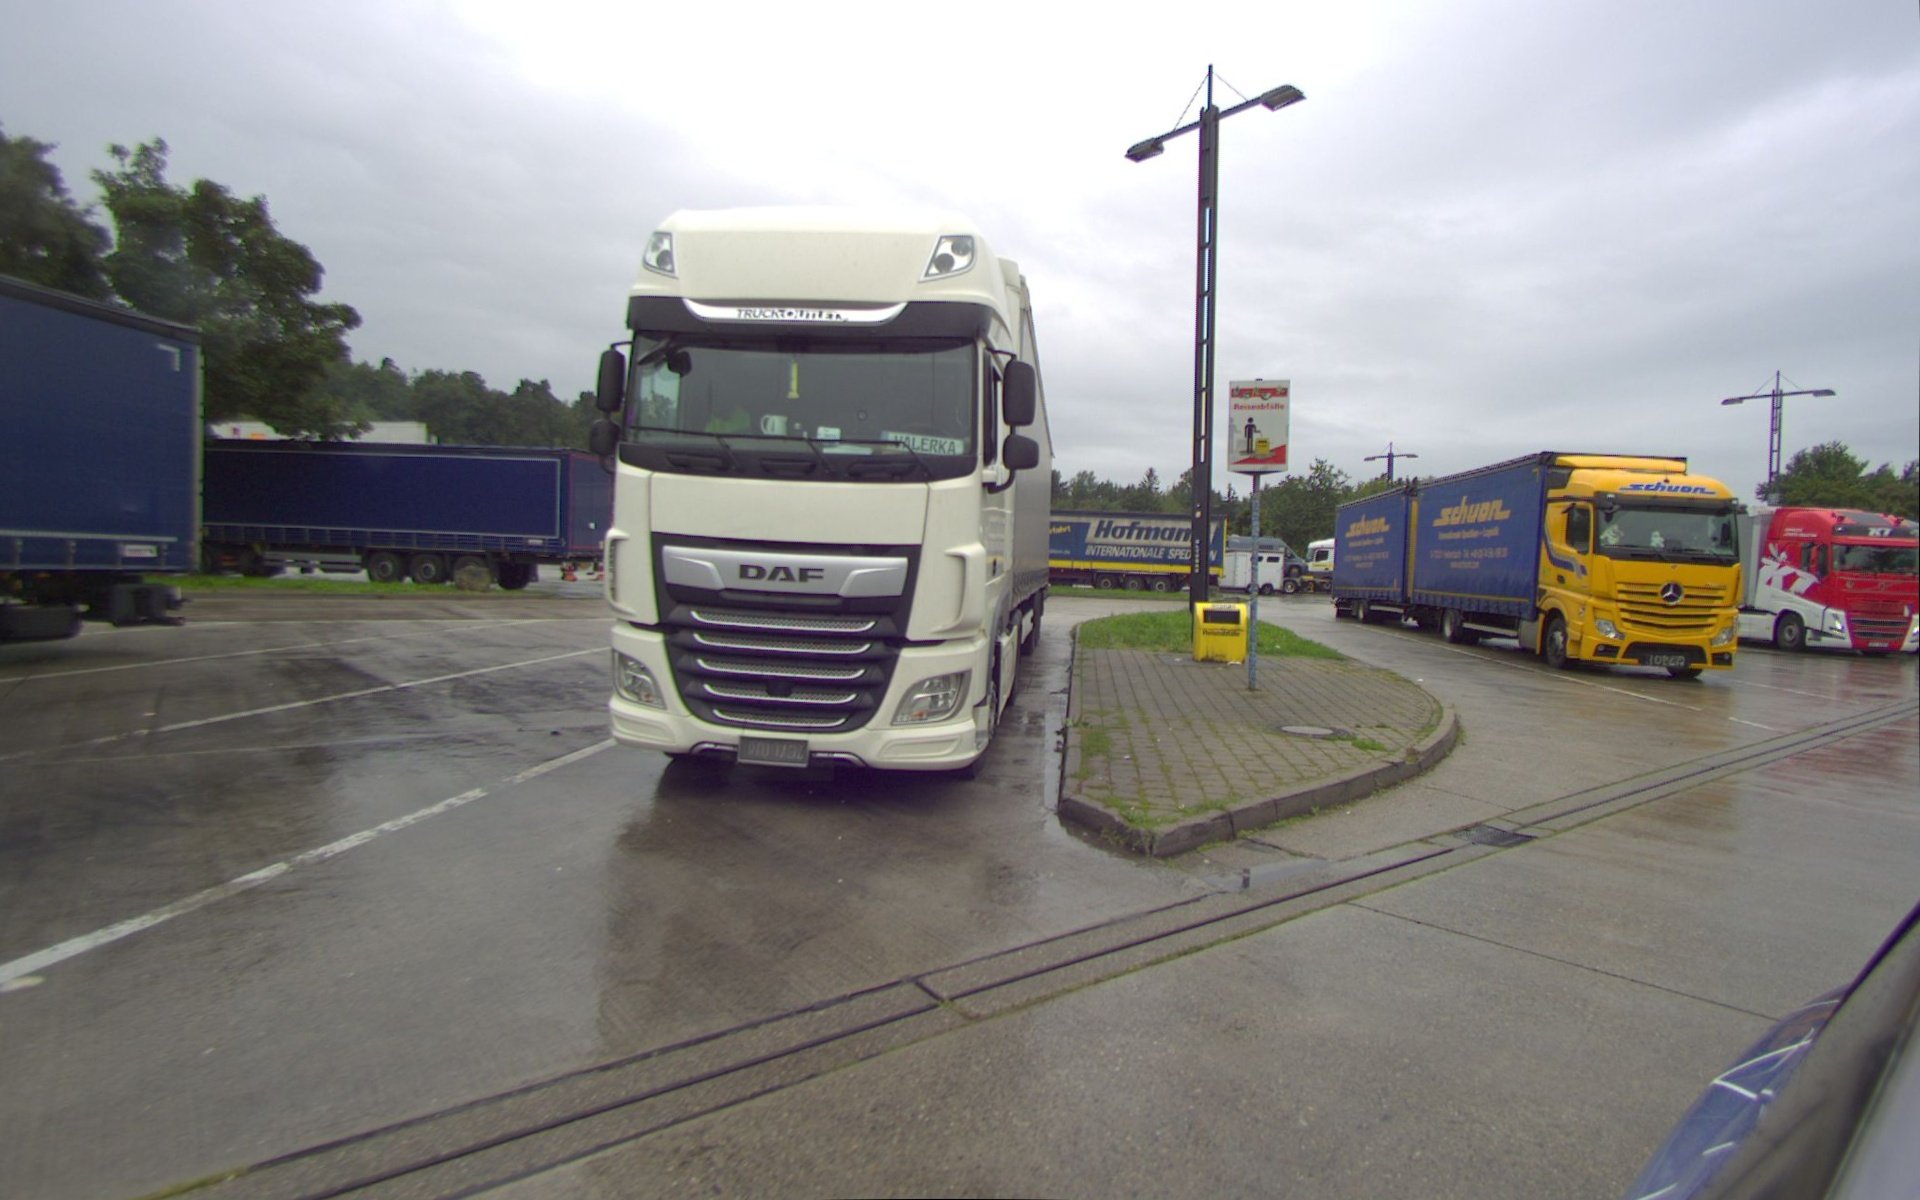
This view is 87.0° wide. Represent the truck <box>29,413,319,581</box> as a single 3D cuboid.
[{"bbox_3d":[-23.317,-2.996,30.249,6.424,4.562,3.254,2,2,7],"label":"truck"}]

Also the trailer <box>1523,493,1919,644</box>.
[{"bbox_3d":[24.710,-1.178,34.824,3.188,3.967,14.821,2,3,4],"label":"trailer"}]

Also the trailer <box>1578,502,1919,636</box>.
[{"bbox_3d":[28.344,-1.248,37.692,2.825,3.967,13.927,2,3,4],"label":"trailer"}]

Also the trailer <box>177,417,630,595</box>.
[{"bbox_3d":[-15.944,-2.693,29.348,11.826,4.529,3.254,2,2,7],"label":"trailer"}]

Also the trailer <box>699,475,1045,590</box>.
[{"bbox_3d":[-3.555,-2.657,41.598,13.924,4.312,2.663,-1,0,7],"label":"trailer"}]

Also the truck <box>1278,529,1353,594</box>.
[{"bbox_3d":[25.302,-2.718,72.311,4.321,4.441,3.092,1,1,7],"label":"truck"}]

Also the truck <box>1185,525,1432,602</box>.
[{"bbox_3d":[21.875,-2.329,64.576,14.323,4.440,3.472,2,1,8],"label":"truck"}]

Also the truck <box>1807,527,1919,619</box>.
[{"bbox_3d":[44.940,-1.267,47.895,3.188,4.141,7.933,2,2,4],"label":"truck"}]

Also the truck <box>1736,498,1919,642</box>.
[{"bbox_3d":[27.901,-0.923,31.285,2.848,3.967,6.552,2,2,4],"label":"truck"}]

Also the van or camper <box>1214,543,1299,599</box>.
[{"bbox_3d":[17.813,-1.721,60.976,4.530,3.279,2.265,-1,0,8],"label":"van or camper"}]

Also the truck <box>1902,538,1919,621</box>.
[{"bbox_3d":[52.715,-0.992,52.039,3.188,4.440,5.809,1,2,4],"label":"truck"}]

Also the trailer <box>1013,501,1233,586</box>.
[{"bbox_3d":[7.712,-2.661,48.663,10.206,3.803,2.066,-1,0,6],"label":"trailer"}]

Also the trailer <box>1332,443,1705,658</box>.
[{"bbox_3d":[13.593,-1.287,27.471,2.821,3.967,16.606,2,3,7],"label":"trailer"}]

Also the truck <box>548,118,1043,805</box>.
[{"bbox_3d":[-0.811,-0.929,8.706,2.782,3.960,5.404,2,2,6],"label":"truck"}]

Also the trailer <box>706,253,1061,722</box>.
[{"bbox_3d":[-0.020,-1.280,15.672,2.796,3.967,13.936,2,3,6],"label":"trailer"}]

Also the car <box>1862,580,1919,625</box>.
[{"bbox_3d":[41.149,0.110,43.254,1.817,1.881,3.994,1,2,7],"label":"car"}]

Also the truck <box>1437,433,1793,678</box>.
[{"bbox_3d":[12.742,-0.916,20.857,2.793,3.967,8.115,2,2,8],"label":"truck"}]

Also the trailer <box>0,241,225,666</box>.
[{"bbox_3d":[-11.487,-1.323,6.016,2.779,4.221,13.973,2,3,7],"label":"trailer"}]

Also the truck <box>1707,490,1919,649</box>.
[{"bbox_3d":[24.227,-0.860,28.100,3.188,3.967,5.018,2,2,4],"label":"truck"}]

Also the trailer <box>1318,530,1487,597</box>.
[{"bbox_3d":[31.112,-2.600,71.589,10.282,4.441,3.092,2,1,7],"label":"trailer"}]

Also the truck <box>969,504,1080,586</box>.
[{"bbox_3d":[3.130,-2.620,49.115,5.246,3.803,2.067,-1,0,6],"label":"truck"}]

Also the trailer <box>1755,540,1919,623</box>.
[{"bbox_3d":[53.216,-1.109,58.977,3.188,4.440,14.385,1,2,4],"label":"trailer"}]
